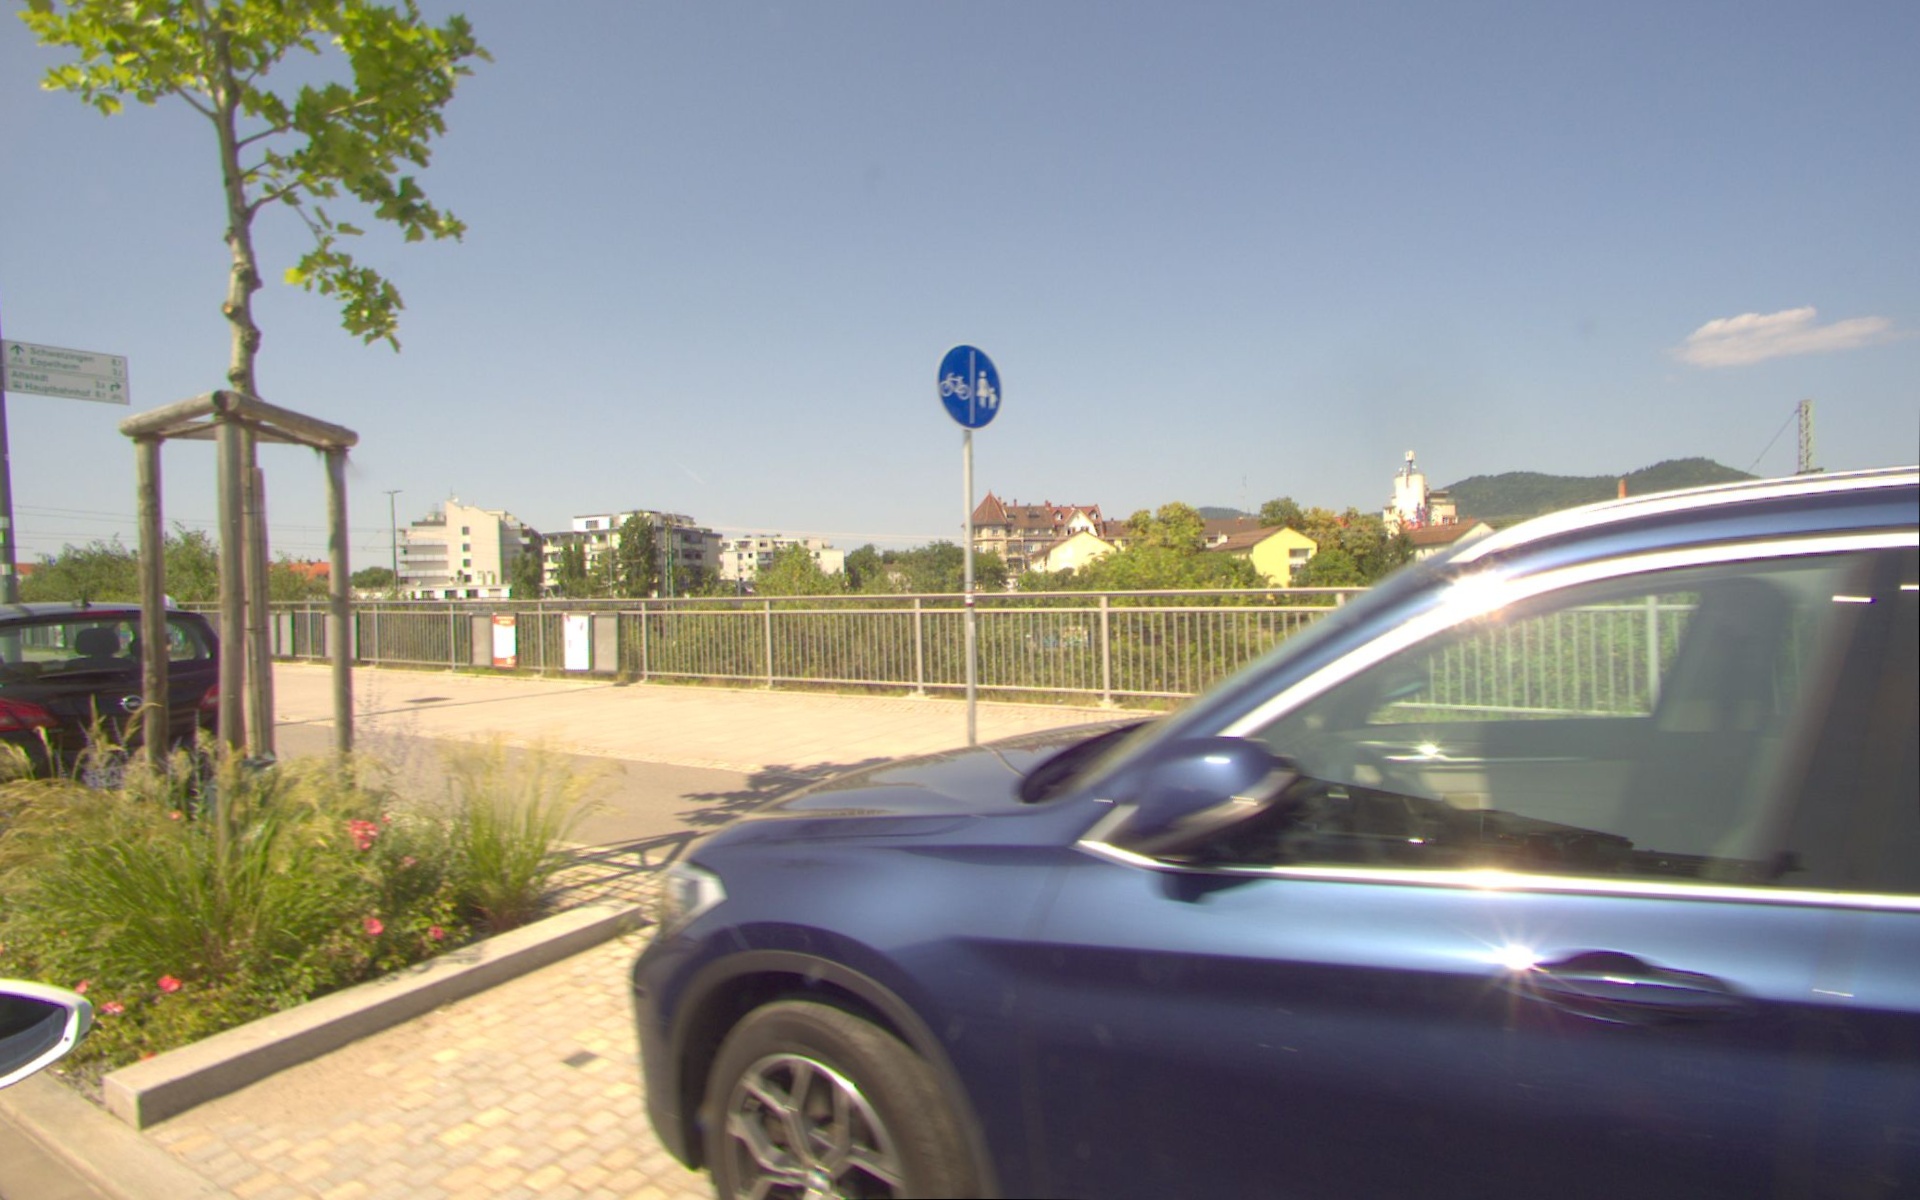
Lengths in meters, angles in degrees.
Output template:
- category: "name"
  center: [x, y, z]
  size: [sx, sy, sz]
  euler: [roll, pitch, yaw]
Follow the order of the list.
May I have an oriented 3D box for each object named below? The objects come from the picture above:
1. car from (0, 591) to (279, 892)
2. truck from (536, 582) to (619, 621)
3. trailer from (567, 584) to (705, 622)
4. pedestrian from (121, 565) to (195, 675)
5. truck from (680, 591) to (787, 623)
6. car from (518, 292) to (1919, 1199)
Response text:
- category: "car"
  center: [-6.387, 0.770, 6.814]
  size: [3.496, 1.577, 1.577]
  euler: [0, 3, 32]
- category: "truck"
  center: [-34.042, 0.162, 89.342]
  size: [3.672, 3.244, 6.483]
  euler: [-1, -2, 17]
- category: "trailer"
  center: [-31.267, 0.431, 98.229]
  size: [3.674, 3.244, 17.238]
  euler: [-1, -2, 17]
- category: "pedestrian"
  center: [-13.943, 0.356, 17.417]
  size: [0.872, 1.853, 0.757]
  euler: [-1, -1, 33]
- category: "truck"
  center: [-25.875, 0.990, 116.305]
  size: [3.674, 3.244, 17.871]
  euler: [-1, -2, 17]
- category: "car"
  center: [1.273, 0.516, 1.929]
  size: [4.210, 1.706, 1.799]
  euler: [-1, 2, 32]
